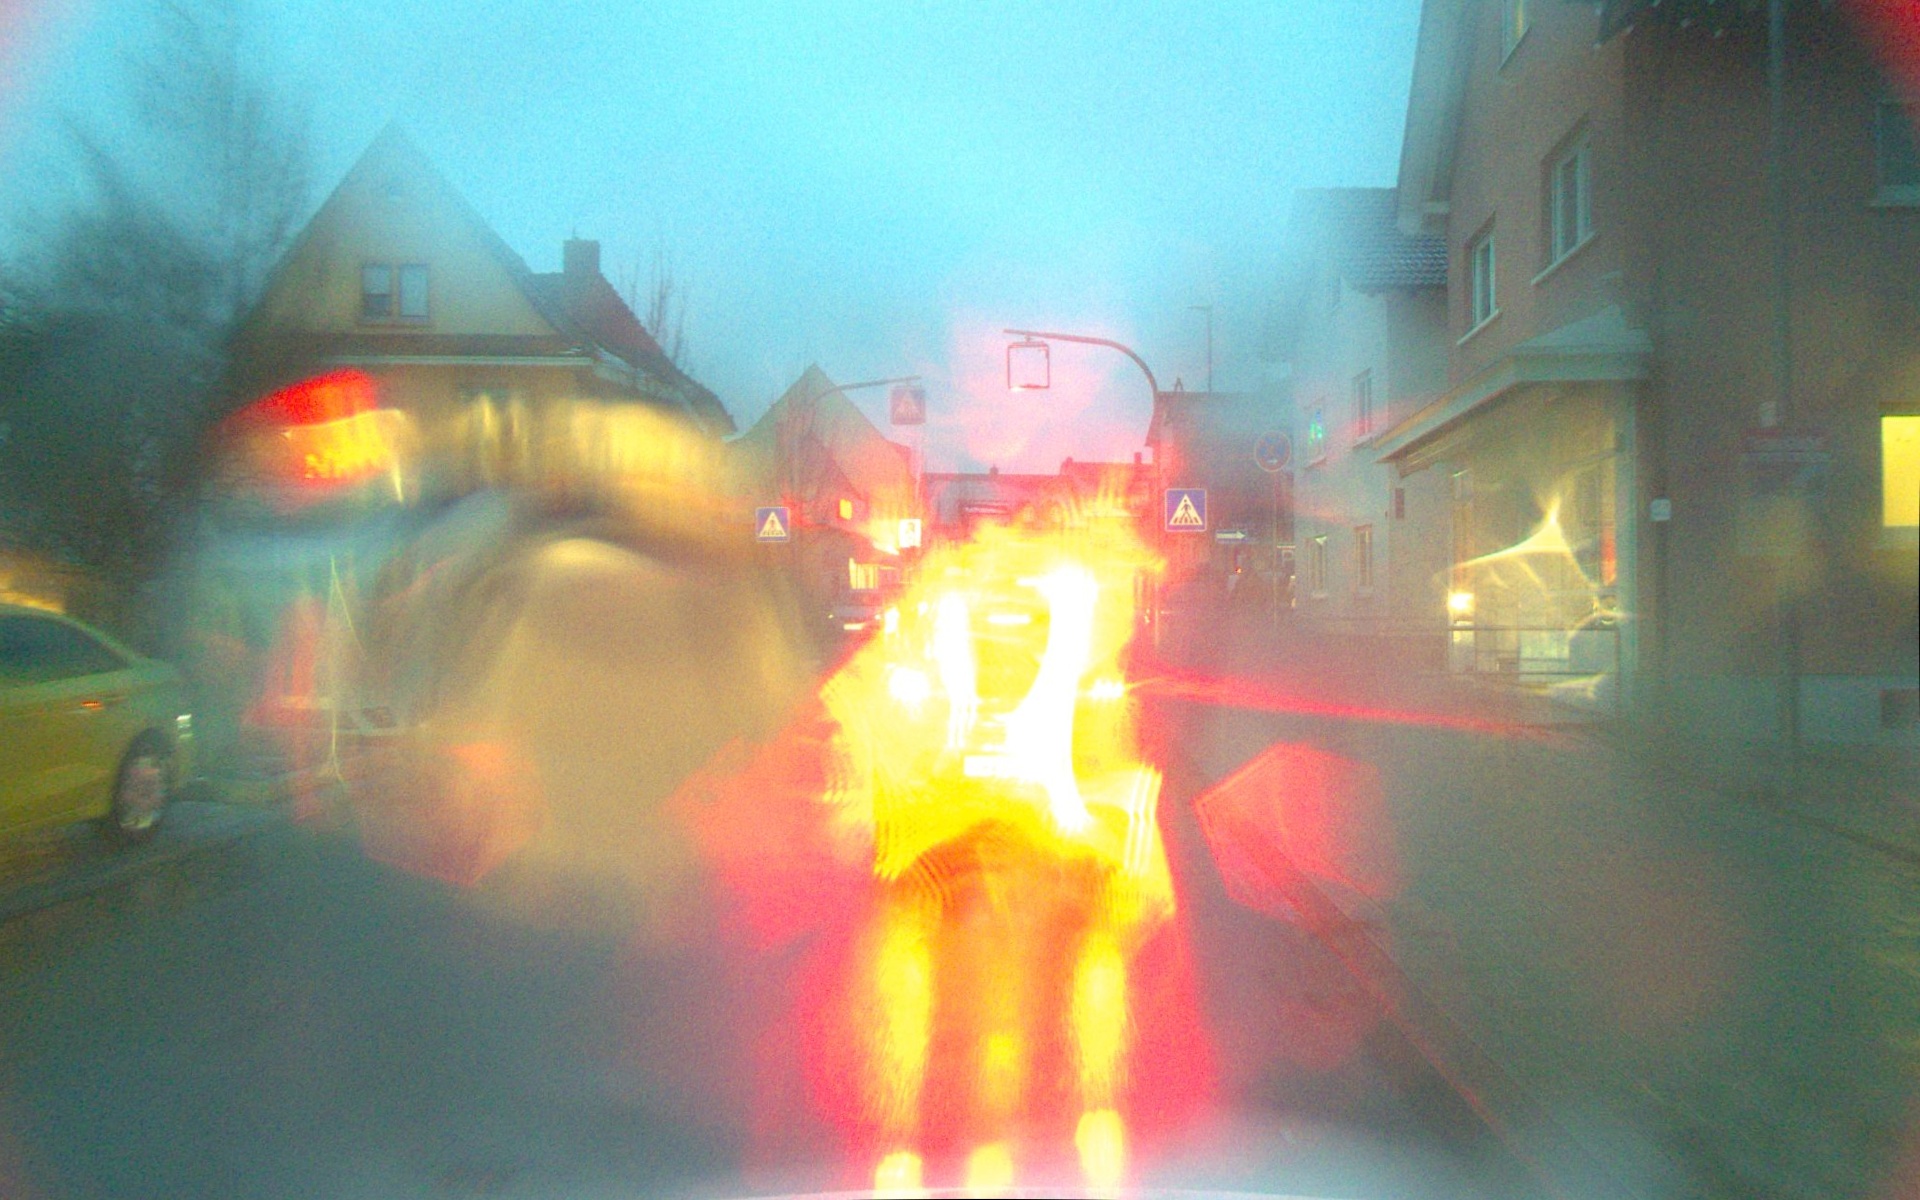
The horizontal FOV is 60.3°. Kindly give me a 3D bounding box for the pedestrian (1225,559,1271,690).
[{"bbox_3d":[4.312,0.359,24.782,0.649,1.921,0.825,1,-1,9],"label":"pedestrian"}]

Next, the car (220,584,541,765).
[{"bbox_3d":[-5.605,0.645,16.547,1.635,1.543,4.001,2,0,2],"label":"car"}]

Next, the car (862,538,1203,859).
[{"bbox_3d":[0.619,0.529,11.807,1.951,1.827,4.651,0,1,5],"label":"car"}]

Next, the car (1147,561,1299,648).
[{"bbox_3d":[6.478,0.106,41.068,3.618,2.049,1.690,1,0,6],"label":"car"}]

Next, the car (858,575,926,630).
[{"bbox_3d":[-2.285,0.068,56.250,1.952,1.783,4.363,0,0,2],"label":"car"}]

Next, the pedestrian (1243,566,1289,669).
[{"bbox_3d":[5.803,0.319,31.354,0.689,1.909,0.617,1,1,-4],"label":"pedestrian"}]

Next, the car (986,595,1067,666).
[{"bbox_3d":[1.681,0.689,40.461,1.788,1.629,4.584,0,0,4],"label":"car"}]

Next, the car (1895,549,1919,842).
[{"bbox_3d":[5.369,0.496,6.246,1.843,1.492,4.547,-2,1,11],"label":"car"}]

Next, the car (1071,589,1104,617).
[{"bbox_3d":[6.633,0.150,86.526,1.503,1.266,3.649,-5,1,2],"label":"car"}]

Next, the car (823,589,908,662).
[{"bbox_3d":[-2.741,0.712,49.066,1.951,2.049,4.364,0,0,4],"label":"car"}]

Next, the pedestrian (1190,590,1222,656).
[{"bbox_3d":[4.709,0.440,31.642,0.542,1.254,0.434,0,0,-1],"label":"pedestrian"}]

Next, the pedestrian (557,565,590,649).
[{"bbox_3d":[-8.205,0.152,35.092,0.576,1.773,0.684,0,0,-4],"label":"pedestrian"}]

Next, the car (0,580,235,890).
[{"bbox_3d":[-5.668,0.669,8.531,1.712,1.543,4.344,2,0,3],"label":"car"}]

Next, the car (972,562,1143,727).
[{"bbox_3d":[1.140,0.469,19.226,1.760,1.691,4.002,1,0,4],"label":"car"}]

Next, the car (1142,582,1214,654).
[{"bbox_3d":[6.585,0.517,50.176,1.608,2.049,4.000,-2,1,0],"label":"car"}]
